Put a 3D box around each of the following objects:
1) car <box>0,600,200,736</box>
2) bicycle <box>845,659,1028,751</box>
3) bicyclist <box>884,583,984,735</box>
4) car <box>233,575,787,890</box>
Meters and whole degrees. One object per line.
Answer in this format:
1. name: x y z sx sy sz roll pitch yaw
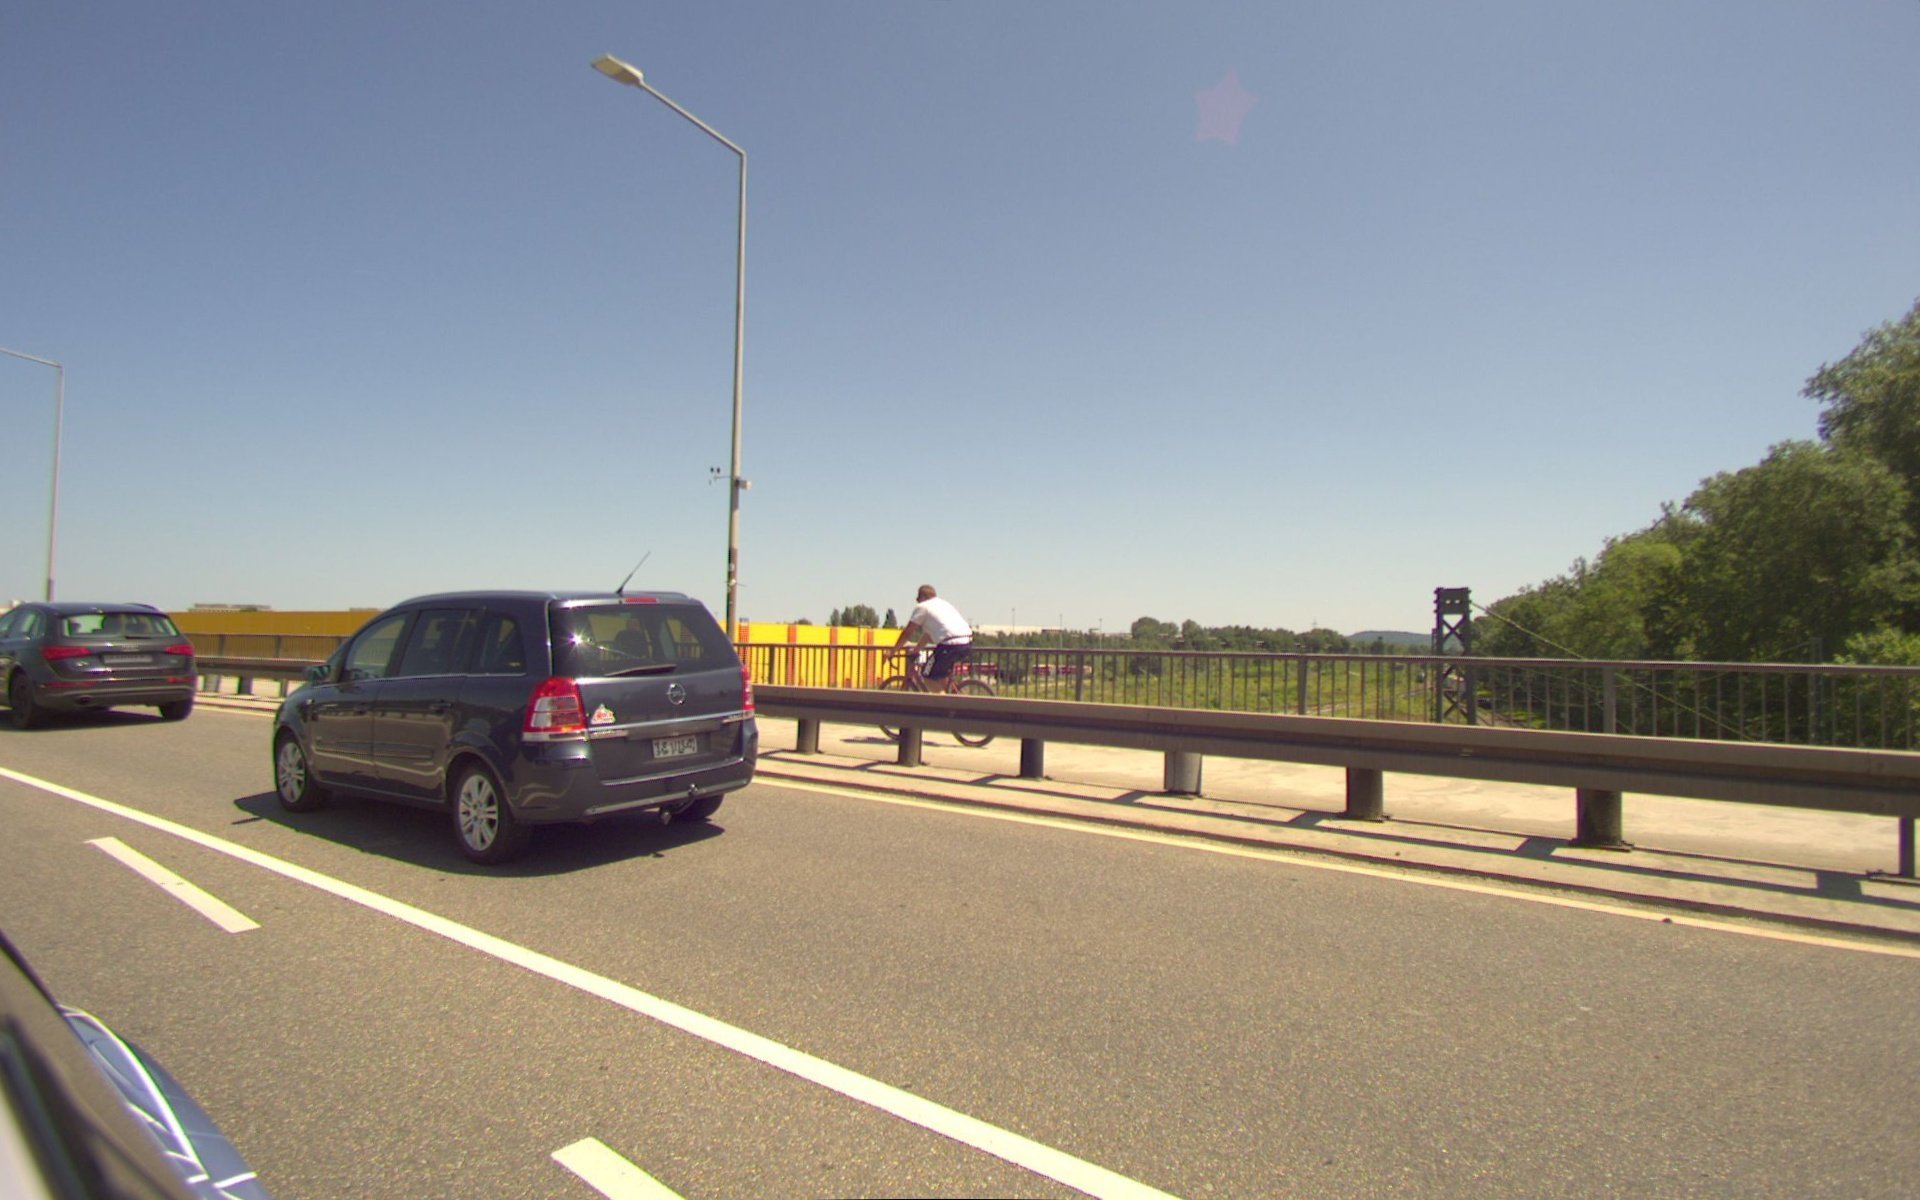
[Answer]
1. car: -12.677 0.866 14.270 4.288 1.653 1.787 -1 -1 33
2. bicycle: -0.279 1.074 10.735 1.987 0.840 0.583 -1 -1 35
3. bicyclist: -0.275 0.607 10.730 0.894 1.533 0.578 -1 -1 35
4. car: -3.343 0.725 7.192 4.243 1.638 1.692 -1 -1 35
